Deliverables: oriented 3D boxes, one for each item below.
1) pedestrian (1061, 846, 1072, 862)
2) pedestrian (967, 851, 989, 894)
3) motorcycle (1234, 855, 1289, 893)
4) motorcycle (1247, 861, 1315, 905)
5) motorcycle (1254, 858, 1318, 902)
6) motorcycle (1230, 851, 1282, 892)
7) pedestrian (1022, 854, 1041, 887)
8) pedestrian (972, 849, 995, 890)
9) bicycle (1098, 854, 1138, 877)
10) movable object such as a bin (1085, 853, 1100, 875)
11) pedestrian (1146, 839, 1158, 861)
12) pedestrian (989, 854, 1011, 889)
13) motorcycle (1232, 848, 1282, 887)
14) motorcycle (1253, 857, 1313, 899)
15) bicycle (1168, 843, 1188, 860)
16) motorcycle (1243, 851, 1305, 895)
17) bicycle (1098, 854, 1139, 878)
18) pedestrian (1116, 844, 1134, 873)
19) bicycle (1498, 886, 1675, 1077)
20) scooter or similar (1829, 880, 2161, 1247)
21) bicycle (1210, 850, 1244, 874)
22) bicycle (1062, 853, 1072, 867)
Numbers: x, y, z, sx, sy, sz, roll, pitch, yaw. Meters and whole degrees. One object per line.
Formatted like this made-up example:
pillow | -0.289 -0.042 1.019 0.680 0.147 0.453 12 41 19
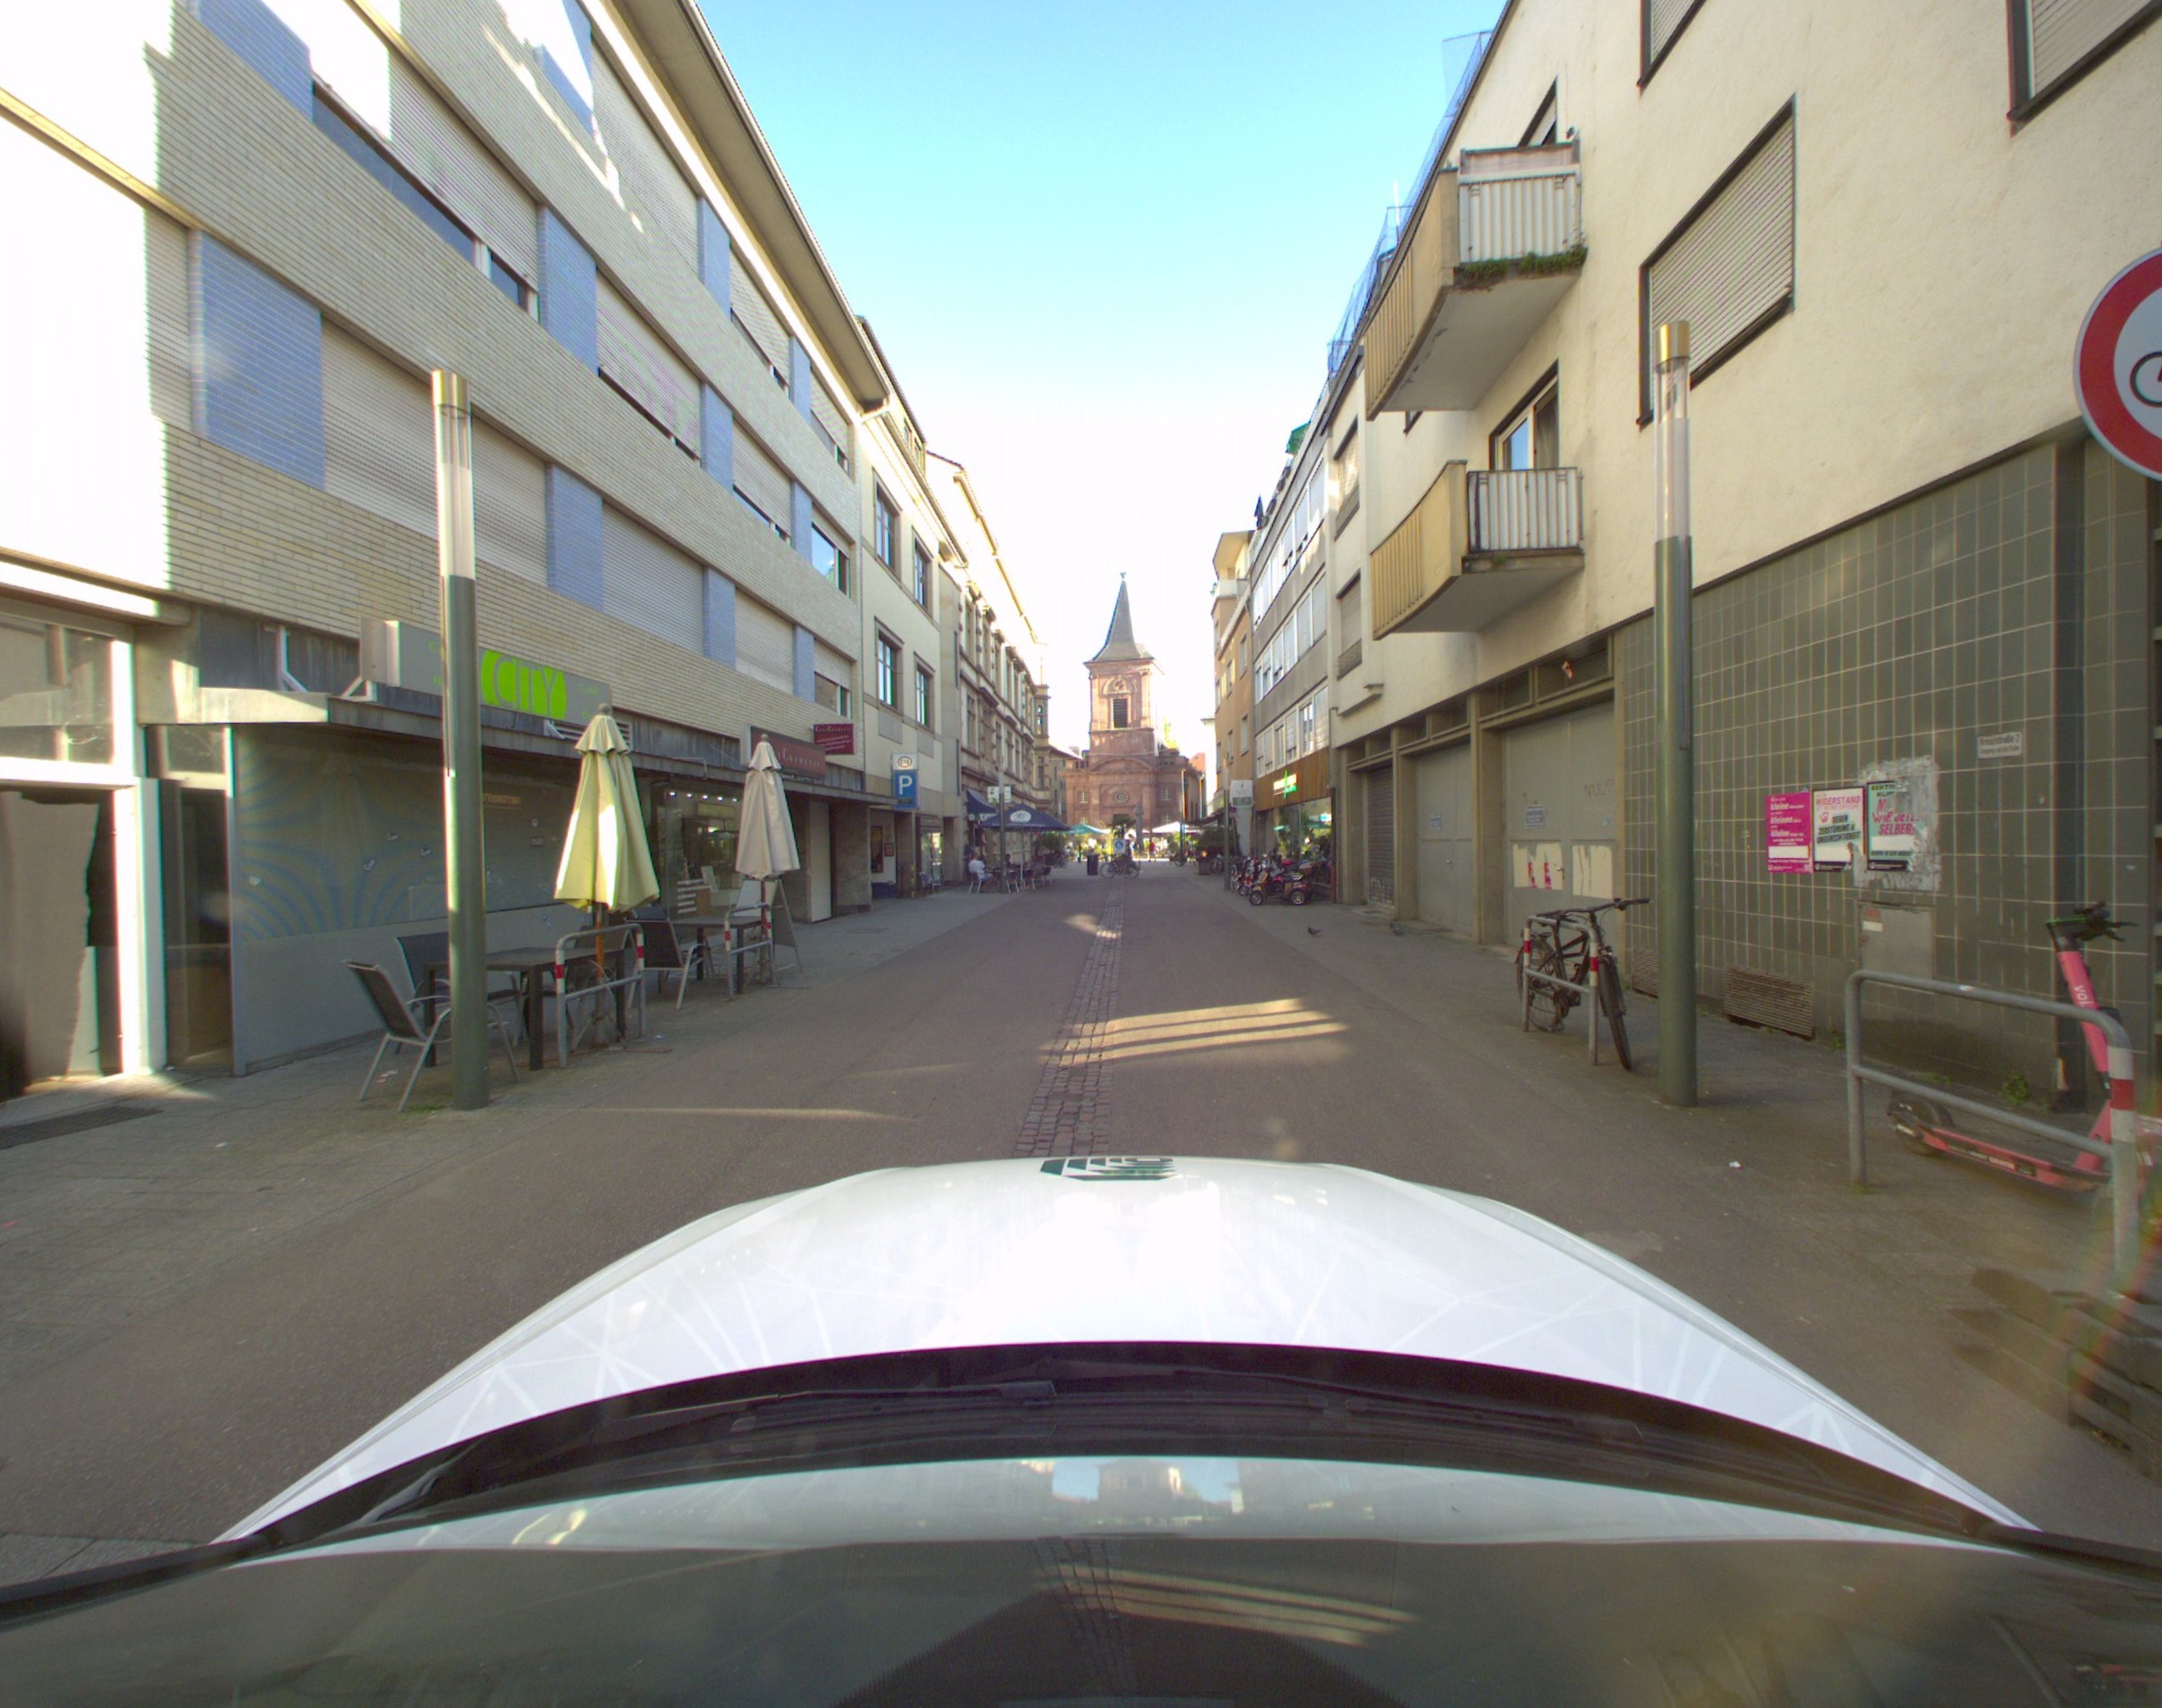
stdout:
pedestrian | -1.137 0.006 63.737 0.696 1.218 0.721 -1 0 9
pedestrian | -3.409 0.606 26.920 0.708 1.368 0.718 -1 1 -9
motorcycle | 5.237 0.590 23.646 1.471 1.075 0.414 -2 0 21
motorcycle | 4.890 0.718 19.918 1.550 1.041 0.374 -2 0 21
motorcycle | 5.191 0.659 20.645 1.503 1.075 0.414 -2 0 21
motorcycle | 5.273 0.537 24.515 1.472 1.181 0.414 -2 0 18
pedestrian | -1.857 0.614 30.484 0.691 1.215 0.582 -1 1 -5
pedestrian | -3.363 0.535 28.039 0.717 1.368 0.708 -1 1 -9
bicycle | 1.710 0.517 37.498 1.818 1.005 0.381 -1 0 -1
movable object such as a bin | 0.591 0.488 40.416 0.719 1.074 0.374 -1 0 1
pedestrian | 5.505 -0.320 63.115 0.616 1.641 0.650 -1 1 -39
pedestrian | -2.949 0.617 29.873 0.763 1.233 0.830 -1 1 -5
motorcycle | 5.529 0.427 25.589 1.472 1.181 0.414 -2 0 18
motorcycle | 5.353 0.651 21.604 1.471 1.075 0.414 -2 0 21
bicycle | 7.478 -0.184 62.692 1.594 1.308 0.362 -1 1 -26
motorcycle | 5.421 0.537 22.874 1.611 1.175 0.483 -2 0 21
bicycle | 1.713 0.544 37.092 1.818 1.005 0.381 -1 0 -1
pedestrian | 2.238 0.208 41.595 0.880 1.464 0.731 -1 0 3
bicycle | 3.608 0.831 5.966 0.444 1.140 1.714 -1 -1 8
scooter or similar | 3.962 0.763 3.517 0.306 1.252 1.239 -1 0 0
bicycle | 6.550 0.361 36.486 1.454 1.005 0.574 -1 0 10
bicycle | -0.848 0.354 49.589 0.455 0.850 2.147 -1 1 2
